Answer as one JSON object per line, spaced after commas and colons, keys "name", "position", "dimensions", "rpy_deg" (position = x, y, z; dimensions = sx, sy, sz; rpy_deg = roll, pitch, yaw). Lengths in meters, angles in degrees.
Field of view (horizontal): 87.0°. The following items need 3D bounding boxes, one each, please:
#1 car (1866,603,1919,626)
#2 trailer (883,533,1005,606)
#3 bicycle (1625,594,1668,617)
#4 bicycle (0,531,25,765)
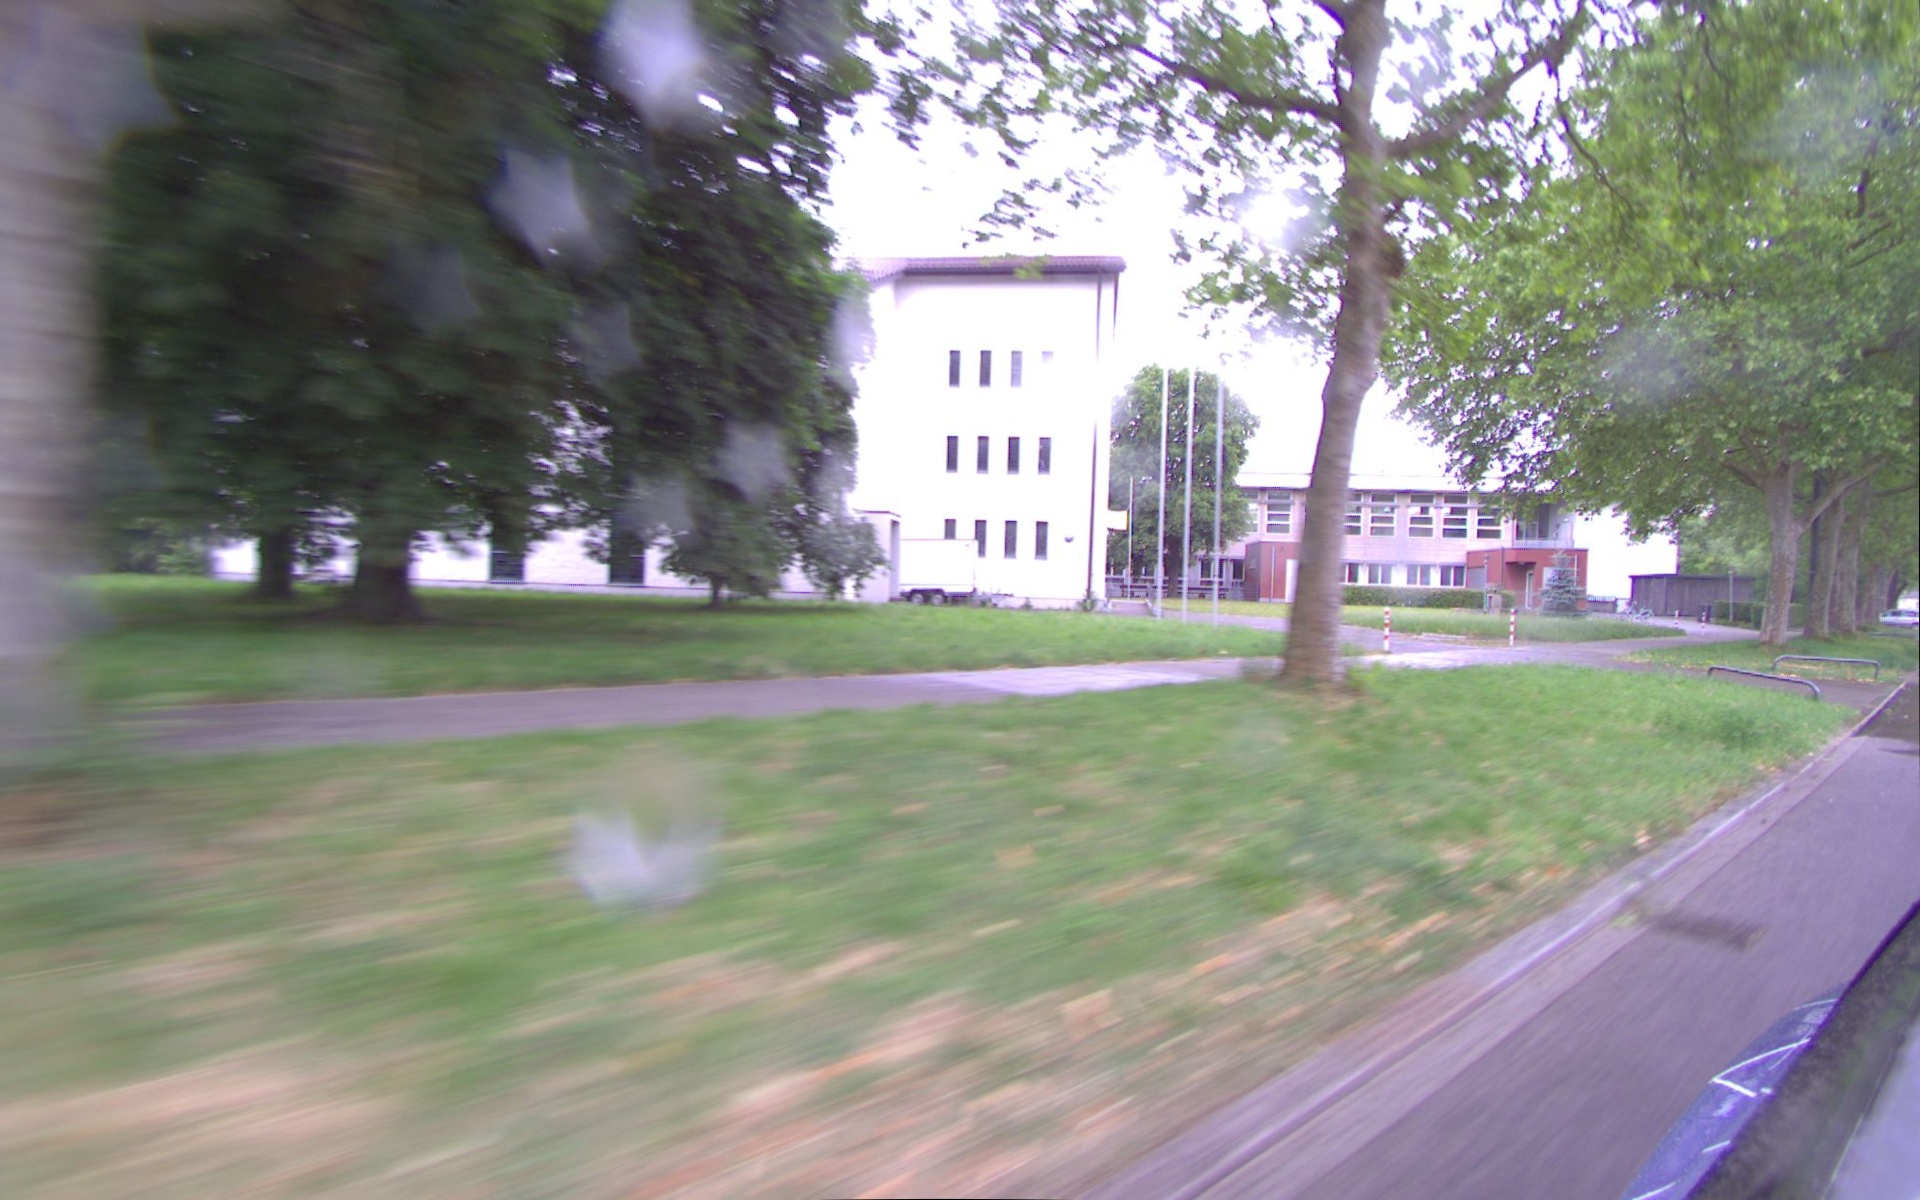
{"name": "car", "position": [69.585, 1.105, 74.494], "dimensions": [3.978, 1.505, 1.624], "rpy_deg": [3, 2, 27]}
{"name": "trailer", "position": [-0.531, -1.069, 35.104], "dimensions": [3.952, 2.337, 1.889], "rpy_deg": [2, 1, 7]}
{"name": "bicycle", "position": [37.538, 0.292, 55.320], "dimensions": [1.901, 1.135, 0.521], "rpy_deg": [3, 3, 0]}
{"name": "bicycle", "position": [-5.680, 0.210, 4.669], "dimensions": [1.936, 1.157, 0.713], "rpy_deg": [1, 1, -39]}
